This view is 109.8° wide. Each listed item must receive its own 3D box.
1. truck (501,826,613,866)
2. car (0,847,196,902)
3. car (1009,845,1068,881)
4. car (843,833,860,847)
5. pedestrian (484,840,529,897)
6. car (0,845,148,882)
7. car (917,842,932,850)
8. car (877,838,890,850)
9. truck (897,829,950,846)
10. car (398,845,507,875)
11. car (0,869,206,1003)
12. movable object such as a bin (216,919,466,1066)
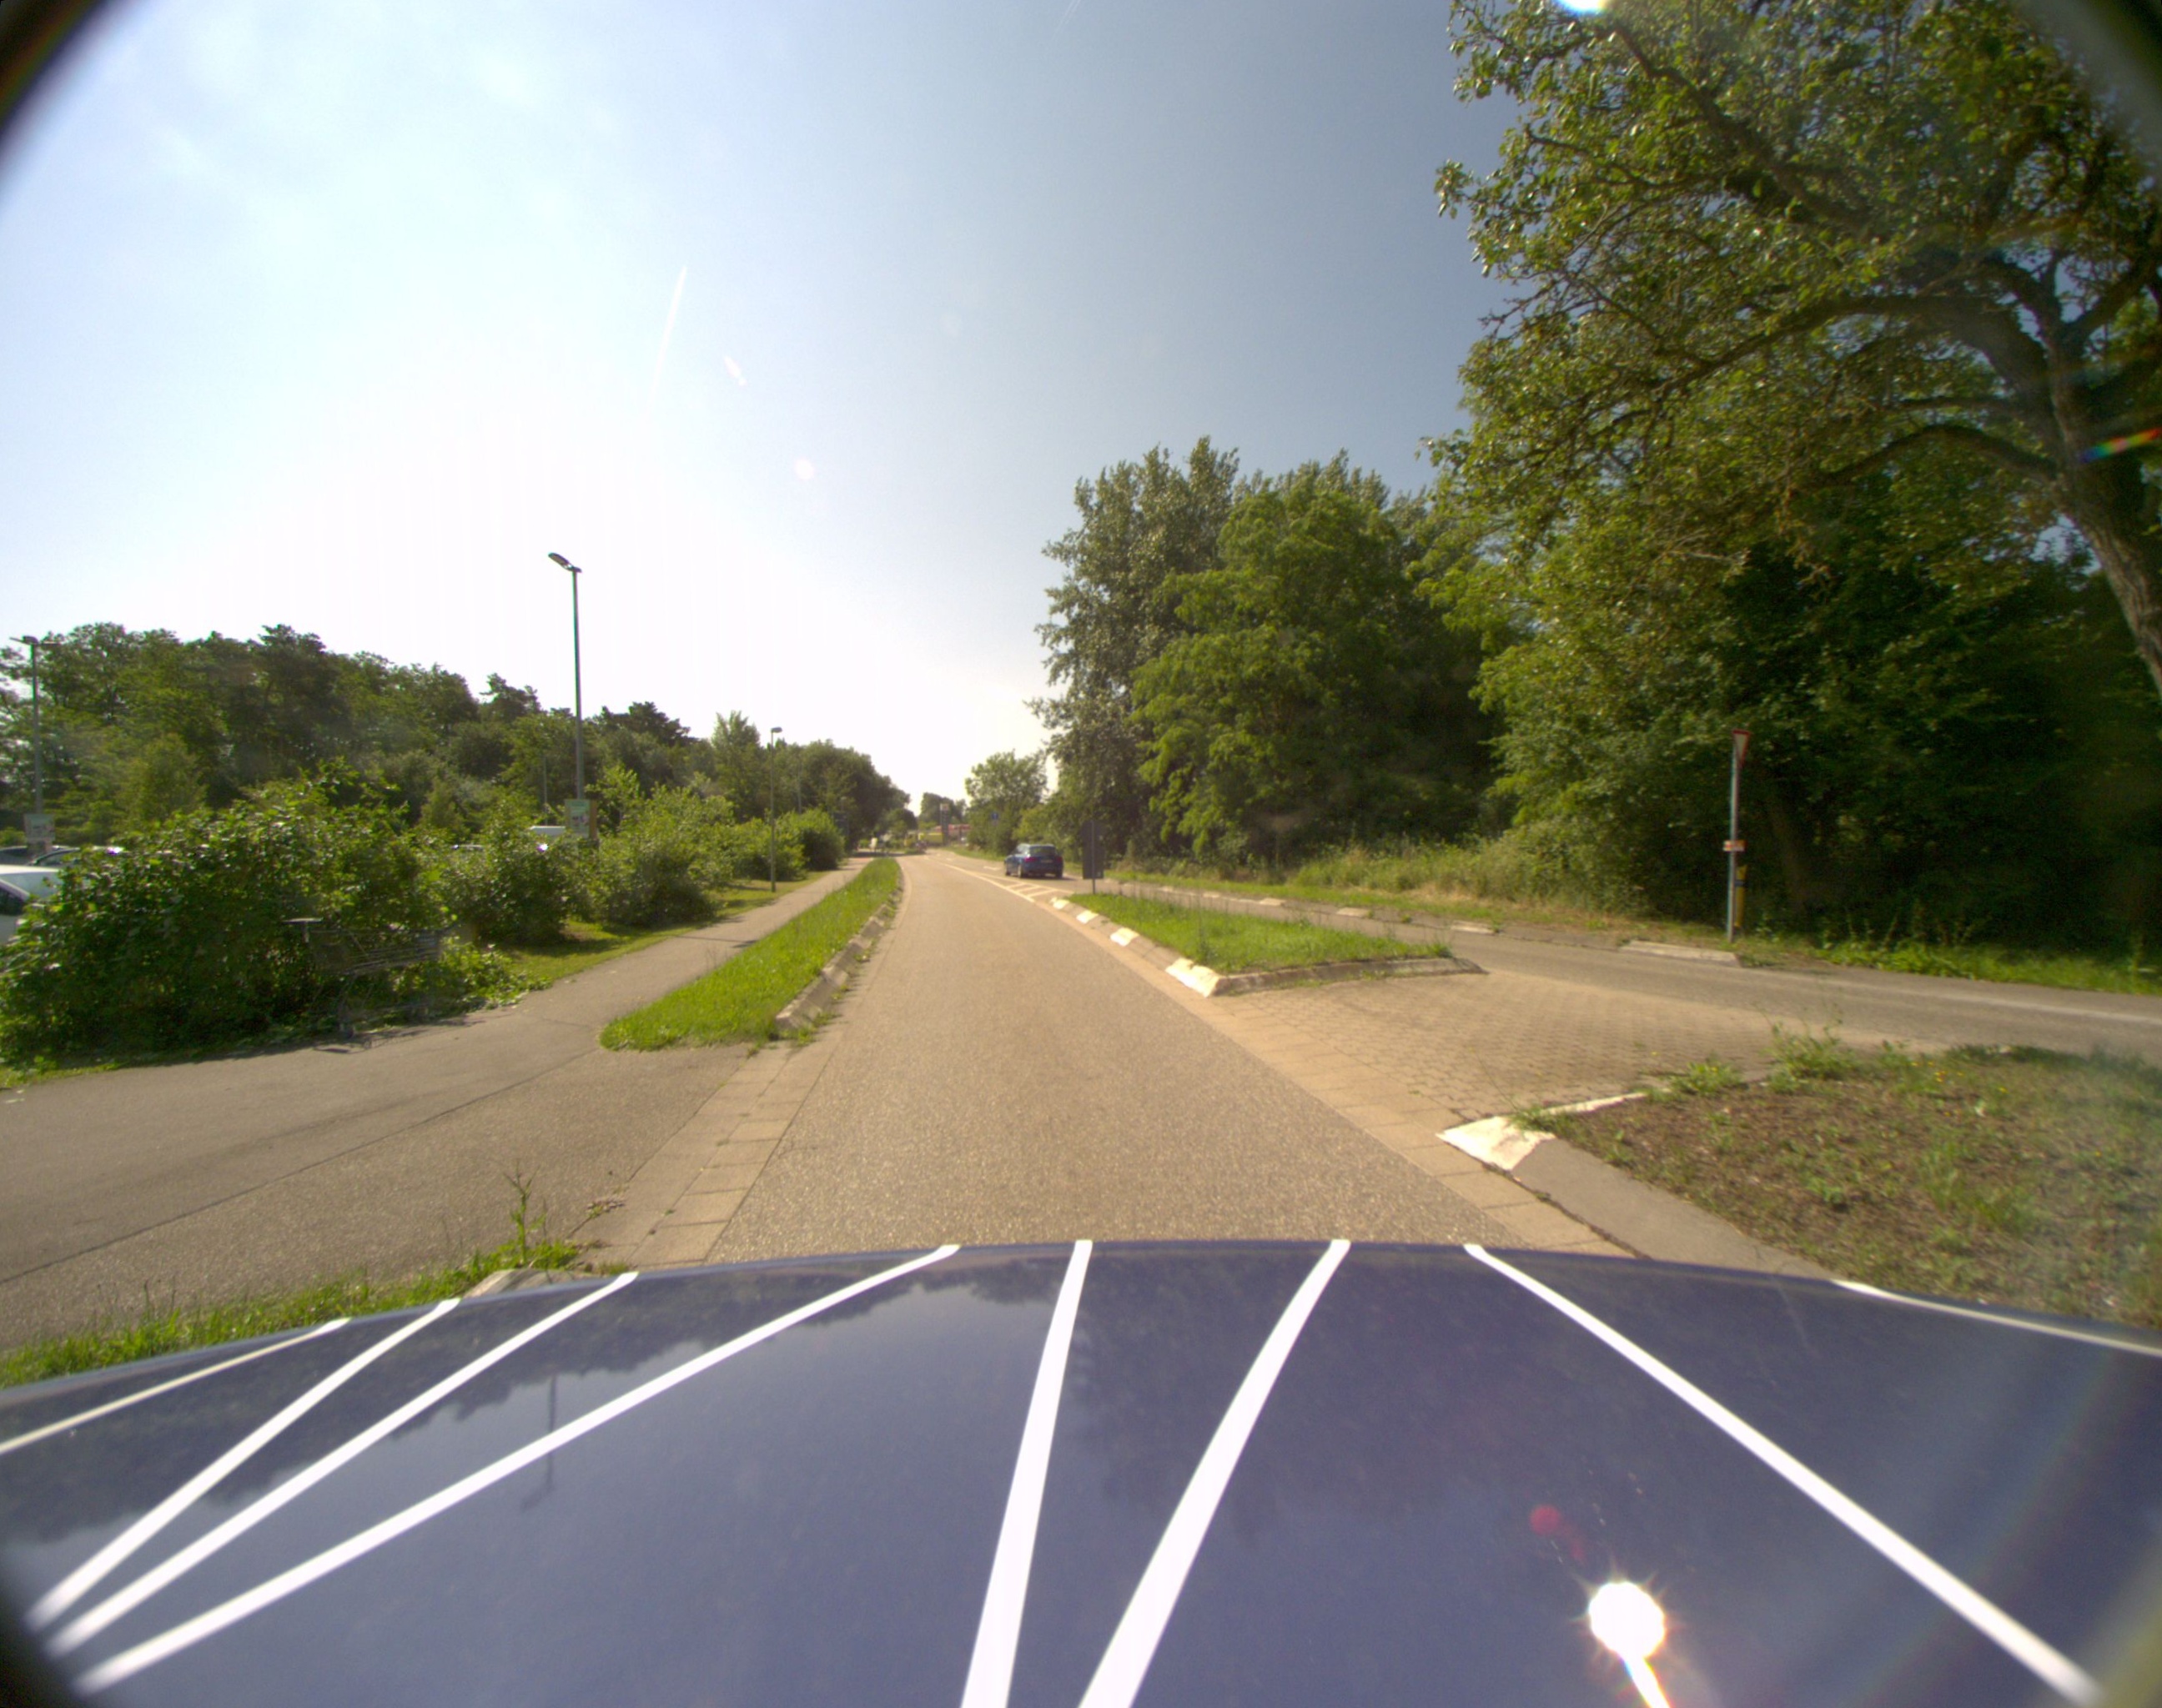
[{"bbox_3d":[-34.433,-0.546,50.137,5.620,2.590,2.200,0,2,-15],"label":"truck"},{"bbox_3d":[-28.095,0.550,21.299,4.002,1.434,1.648,-1,1,-15],"label":"car"},{"bbox_3d":[-1.879,0.334,32.013,1.839,1.379,4.418,0,1,-12],"label":"car"},{"bbox_3d":[-44.991,-2.753,149.062,2.680,2.795,5.141,-1,1,-22],"label":"car"},{"bbox_3d":[-18.628,0.448,24.651,0.821,1.787,0.865,-1,2,-12],"label":"pedestrian"},{"bbox_3d":[-46.705,0.398,35.194,4.007,1.576,1.965,-1,2,-36],"label":"car"},{"bbox_3d":[-26.398,-1.353,127.758,1.706,1.381,4.285,-1,1,-22],"label":"car"},{"bbox_3d":[-40.203,-2.046,154.452,1.920,2.387,4.900,-1,2,-23],"label":"car"},{"bbox_3d":[-32.562,-3.351,156.809,10.347,3.375,3.878,0,1,-16],"label":"truck"},{"bbox_3d":[-32.638,0.262,39.604,3.979,1.445,1.900,-1,1,-24],"label":"car"},{"bbox_3d":[-14.325,1.007,9.787,3.607,1.553,1.811,0,1,-12],"label":"car"},{"bbox_3d":[-7.079,1.268,7.376,0.869,1.114,1.456,-1,1,14],"label":"movable object such as a bin"}]
